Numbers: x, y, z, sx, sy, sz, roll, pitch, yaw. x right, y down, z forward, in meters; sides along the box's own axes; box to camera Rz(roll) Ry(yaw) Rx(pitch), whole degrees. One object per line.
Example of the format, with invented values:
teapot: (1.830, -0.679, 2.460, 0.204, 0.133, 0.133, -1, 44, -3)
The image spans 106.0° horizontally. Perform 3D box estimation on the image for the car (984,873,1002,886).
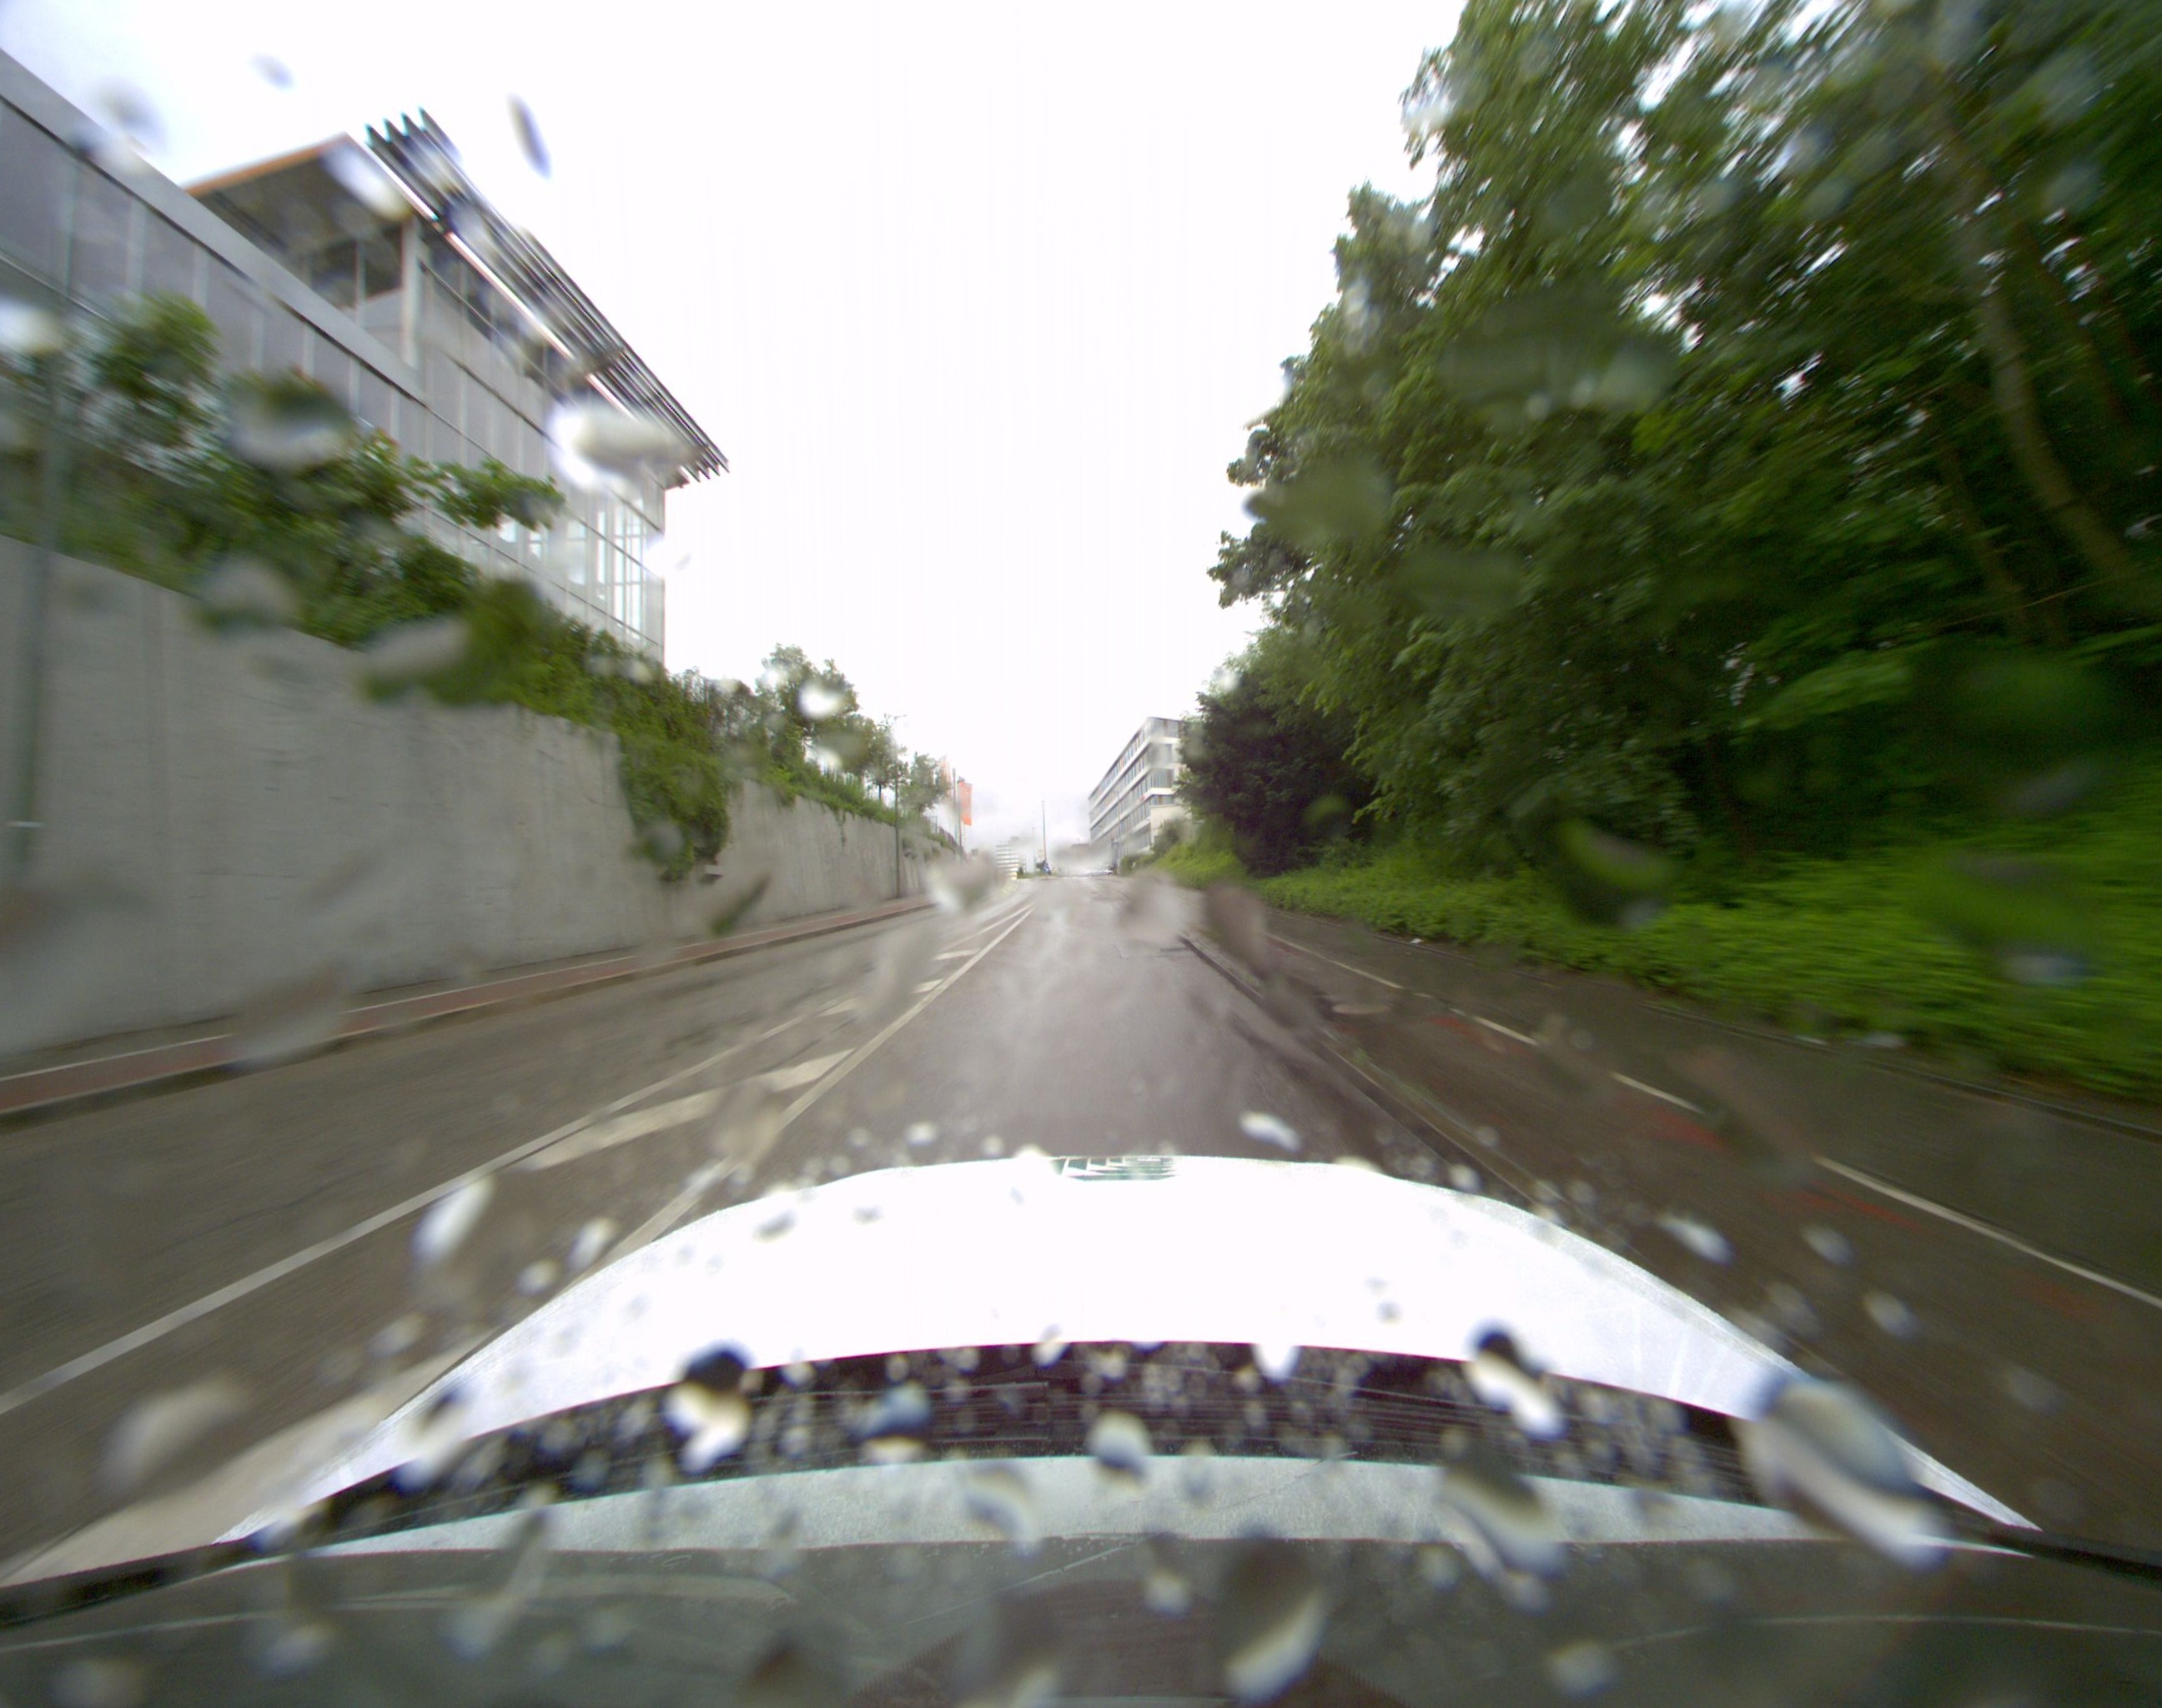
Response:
car: (-11.277, 3.251, 104.795, 1.996, 1.426, 4.776, -3, -1, -2)

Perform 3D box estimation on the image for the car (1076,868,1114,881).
car: (1.712, 2.430, 97.656, 4.258, 1.362, 1.631, -2, -1, -26)
